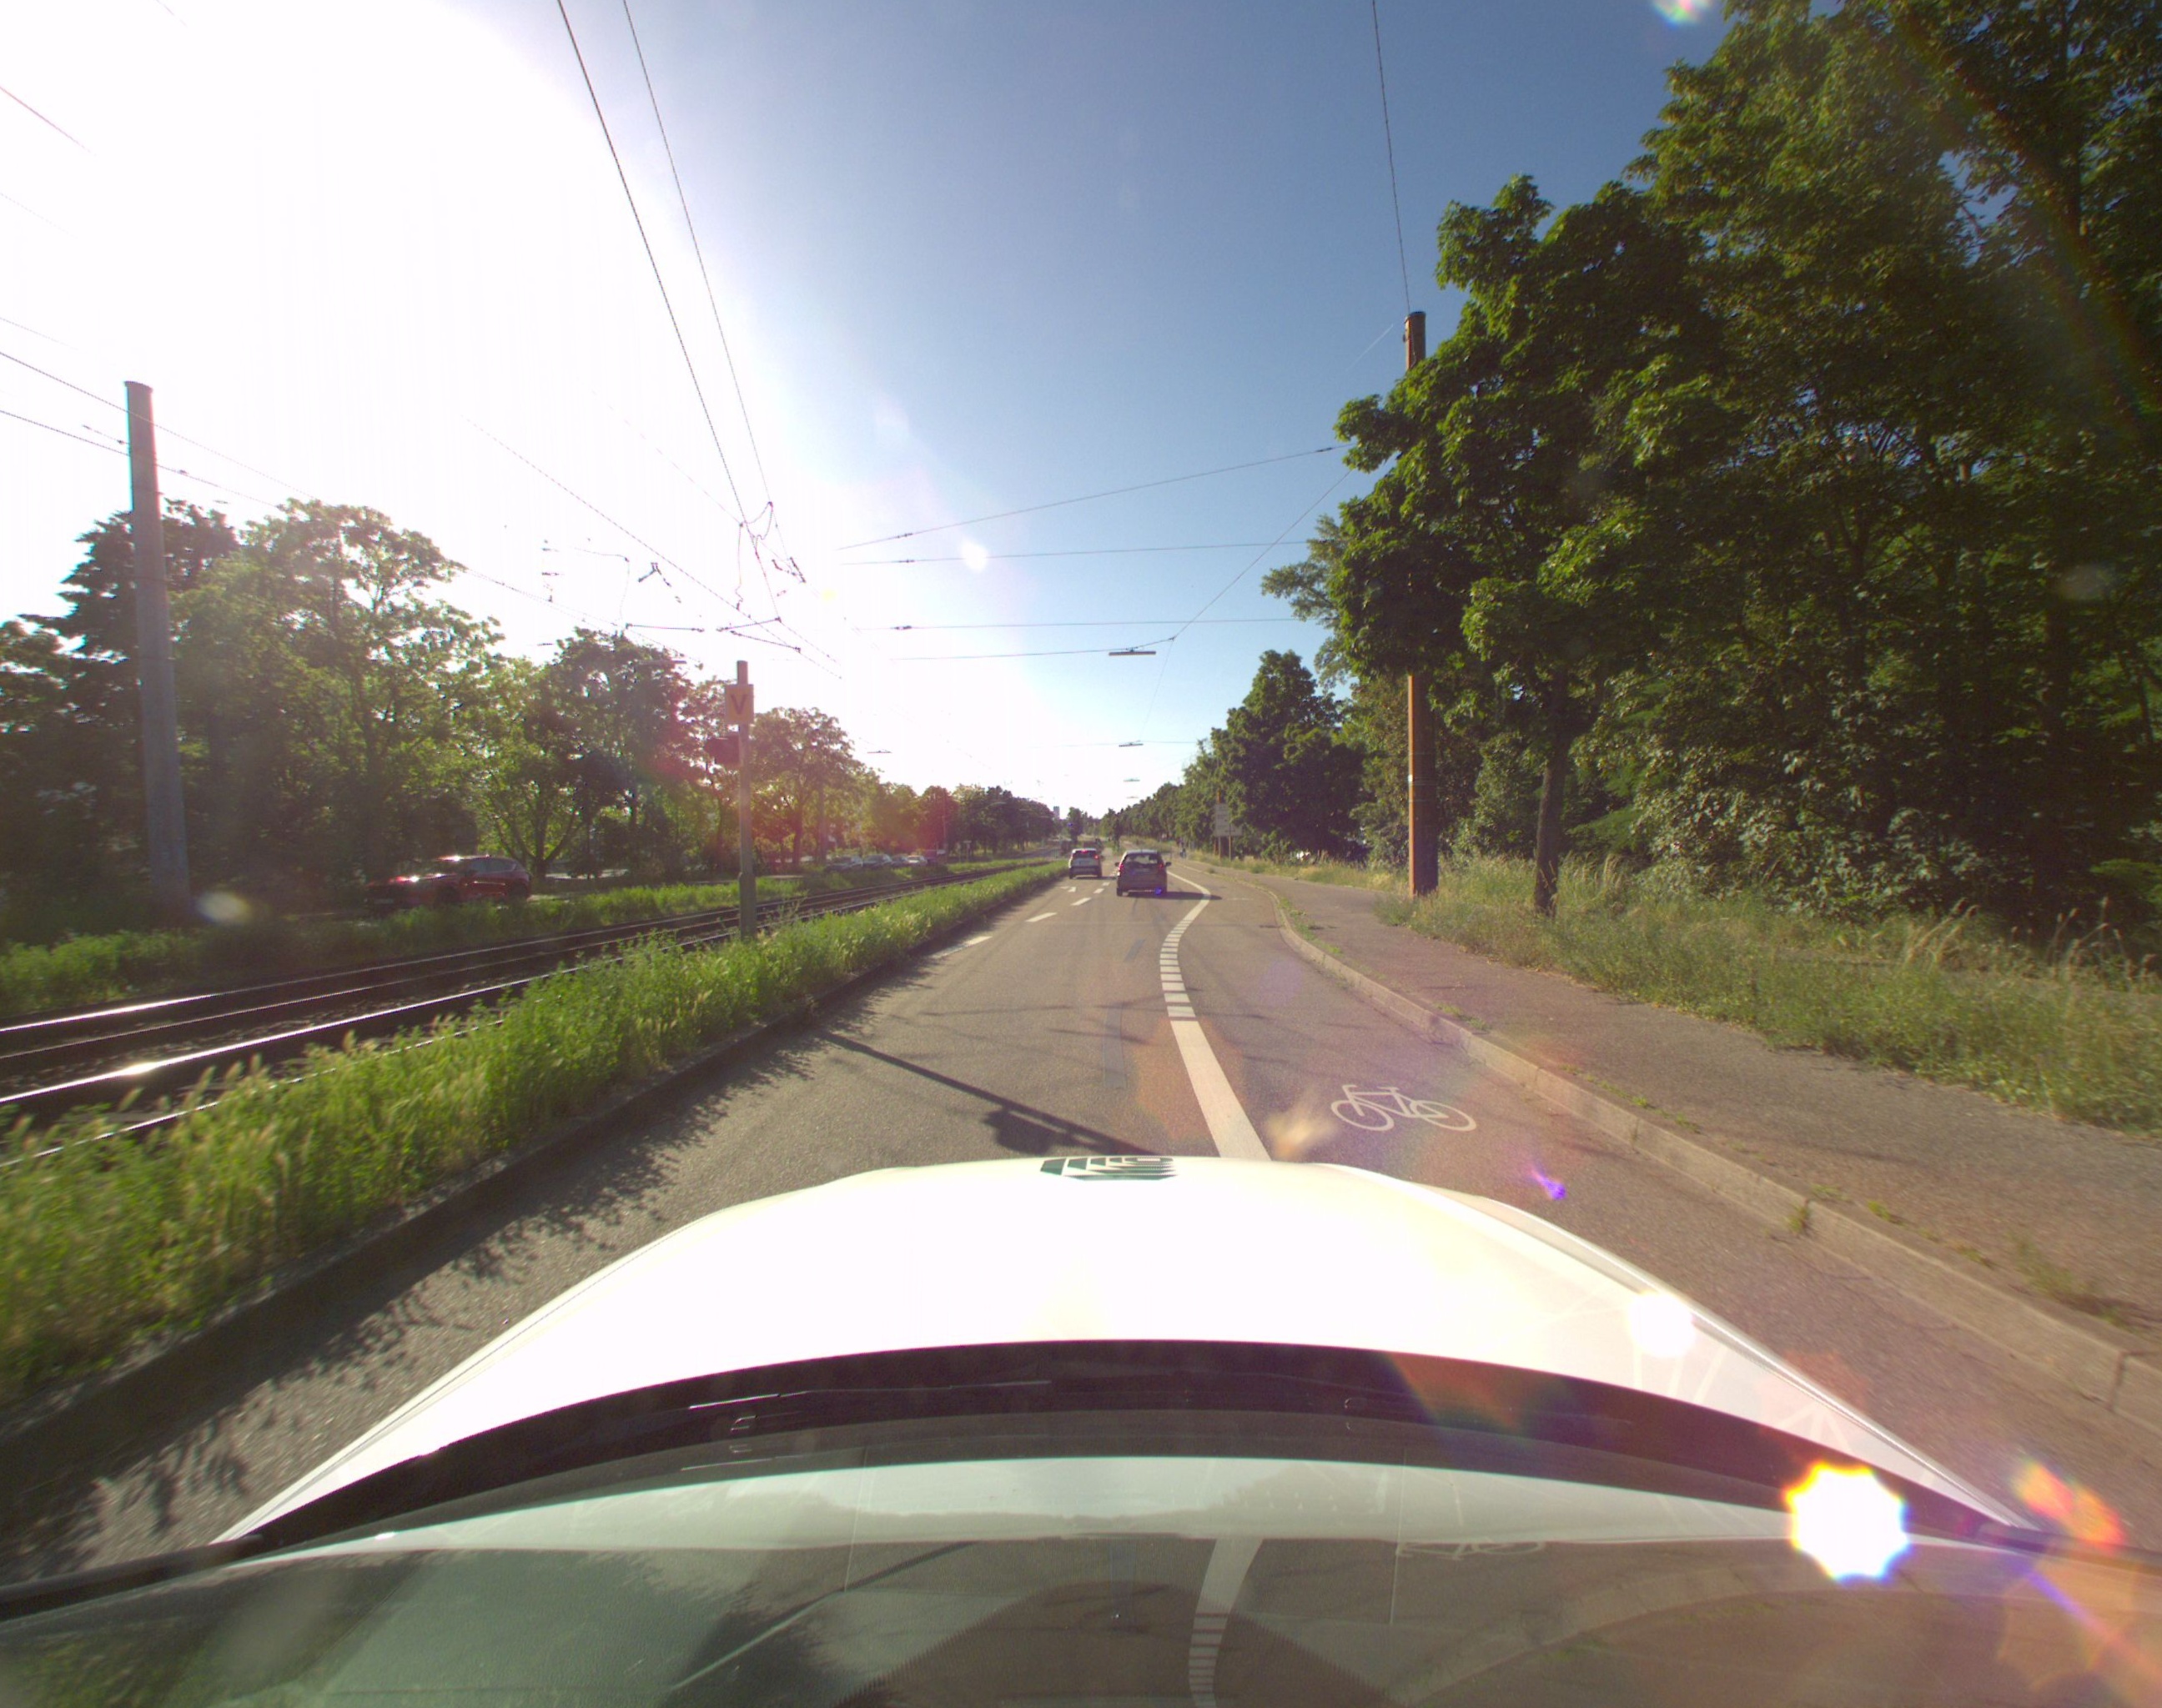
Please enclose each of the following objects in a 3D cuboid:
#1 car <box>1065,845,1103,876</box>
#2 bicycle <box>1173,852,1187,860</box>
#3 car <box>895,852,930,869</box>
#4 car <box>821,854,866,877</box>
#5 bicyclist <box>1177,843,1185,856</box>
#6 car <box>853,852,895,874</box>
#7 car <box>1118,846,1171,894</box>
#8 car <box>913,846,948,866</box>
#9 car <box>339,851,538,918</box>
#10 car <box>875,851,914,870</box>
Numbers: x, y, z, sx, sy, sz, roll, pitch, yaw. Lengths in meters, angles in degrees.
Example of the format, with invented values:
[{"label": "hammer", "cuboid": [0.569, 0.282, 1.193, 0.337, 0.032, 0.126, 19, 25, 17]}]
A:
[{"label": "car", "cuboid": [0.209, 0.315, 44.434, 1.843, 1.606, 4.259, -1, 1, 3]}, {"label": "bicycle", "cuboid": [14.016, 0.256, 115.136, 1.906, 0.998, 0.767, -3, 0, 14]}, {"label": "car", "cuboid": [-15.662, 0.595, 75.968, 1.920, 1.437, 4.700, -1, 1, 4]}, {"label": "car", "cuboid": [-16.650, 0.782, 57.311, 1.728, 1.494, 4.330, 0, 0, 2]}, {"label": "bicyclist", "cuboid": [14.175, -0.655, 115.089, 0.903, 1.745, 0.767, -2, 0, 14]}, {"label": "car", "cuboid": [-16.240, 0.691, 64.020, 1.986, 1.574, 4.438, -1, 1, 2]}, {"label": "car", "cuboid": [2.145, 0.495, 28.189, 1.700, 1.508, 4.003, 0, 1, 3]}, {"label": "car", "cuboid": [-15.163, 0.212, 82.326, 2.186, 1.891, 4.799, -1, 1, 6]}, {"label": "car", "cuboid": [-18.187, 0.789, 23.384, 1.996, 1.702, 4.469, -1, 0, 2]}, {"label": "car", "cuboid": [-15.910, 0.534, 69.783, 1.985, 1.437, 4.420, -1, 1, 4]}]
